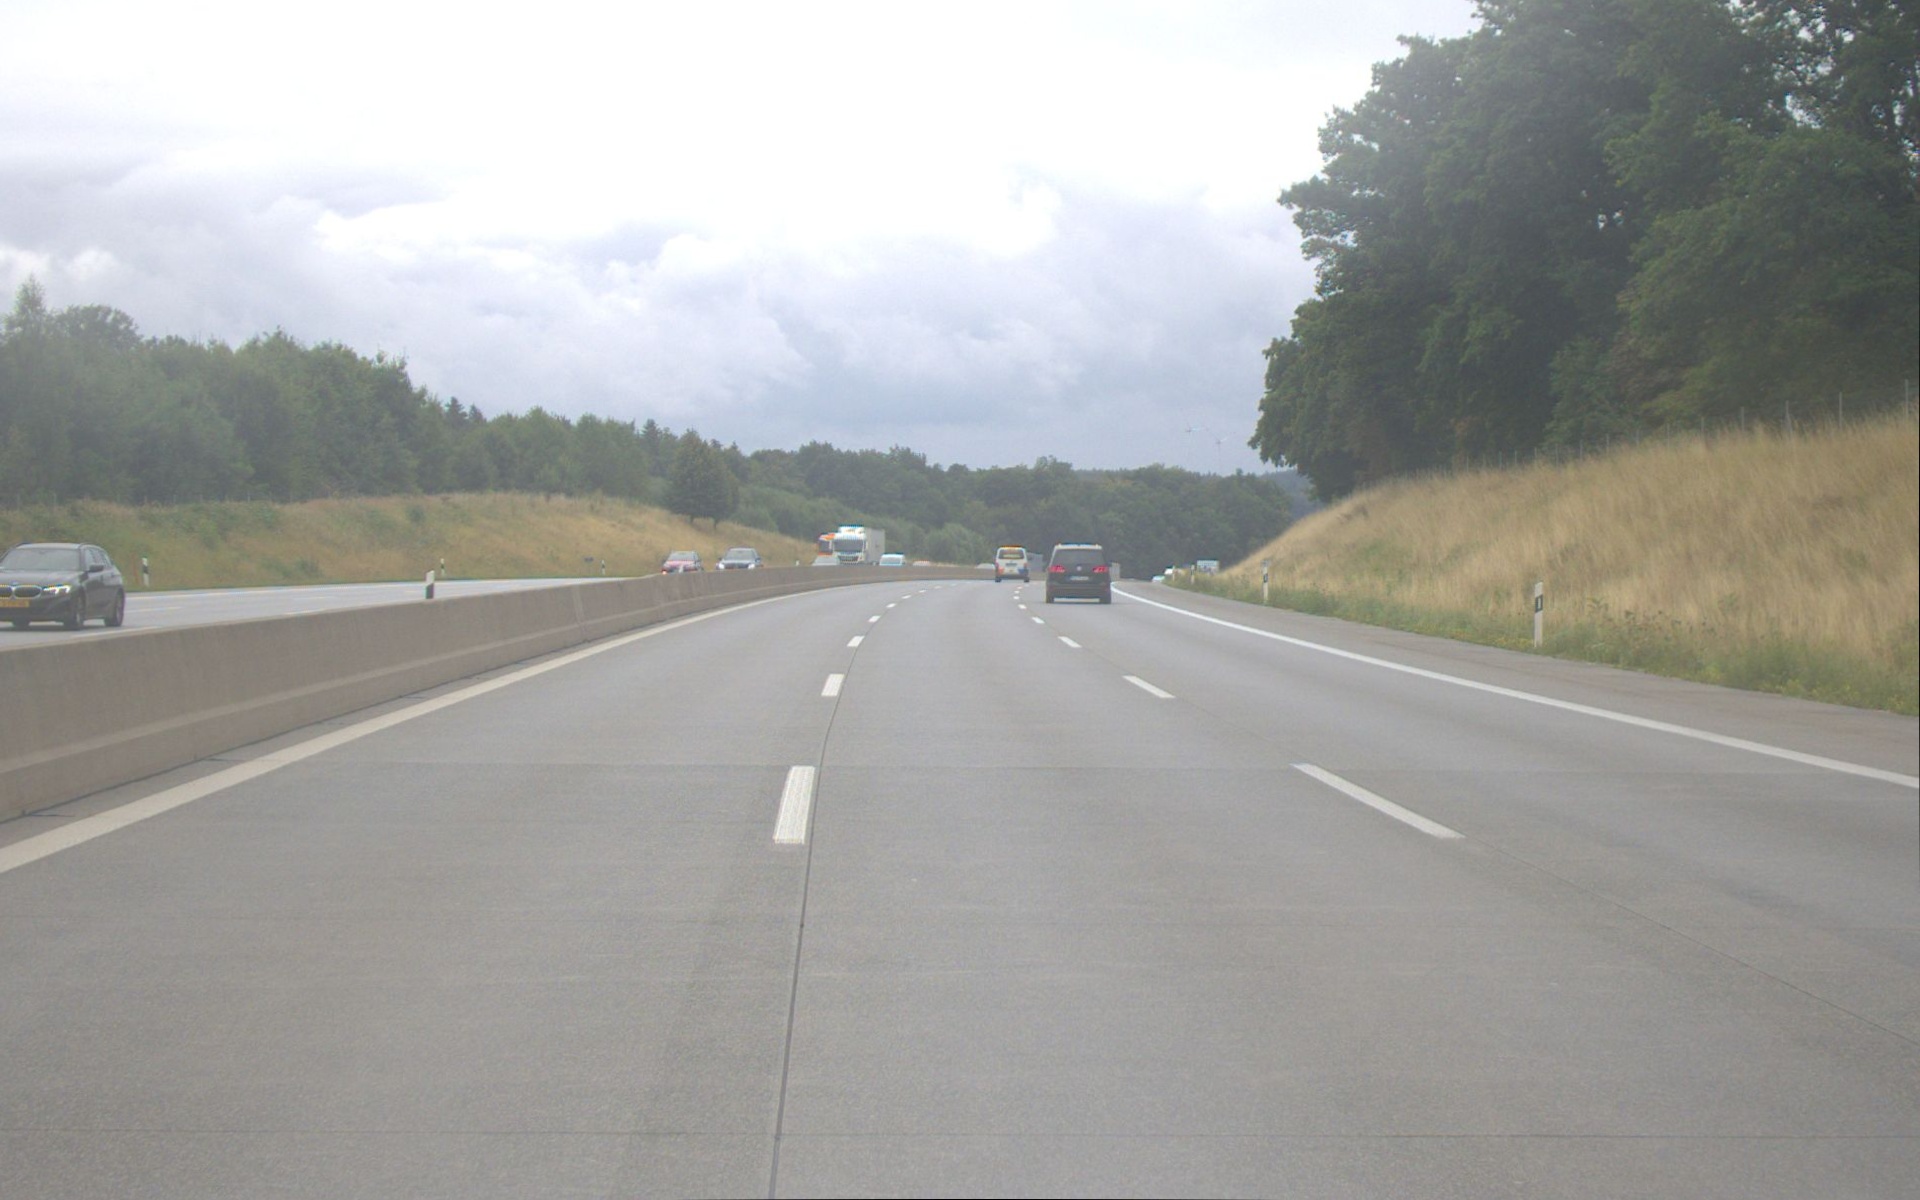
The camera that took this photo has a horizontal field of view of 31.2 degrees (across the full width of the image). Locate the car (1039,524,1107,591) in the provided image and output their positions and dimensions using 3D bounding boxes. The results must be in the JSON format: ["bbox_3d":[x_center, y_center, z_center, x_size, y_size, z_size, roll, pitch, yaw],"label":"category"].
[{"bbox_3d":[3.231,-1.239,98.925,1.785,1.741,3.915,-3,2,1],"label":"car"}]

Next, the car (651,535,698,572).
[{"bbox_3d":[-14.293,-2.341,172.259,1.950,1.612,4.001,-3,2,0],"label":"car"}]

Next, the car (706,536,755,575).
[{"bbox_3d":[-10.696,-2.071,160.209,1.950,1.612,4.001,-3,2,0],"label":"car"}]

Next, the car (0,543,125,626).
[{"bbox_3d":[-15.234,-0.284,57.340,1.767,1.228,3.955,1,2,-2],"label":"car"}]

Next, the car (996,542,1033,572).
[{"bbox_3d":[3.035,-2.444,193.183,1.841,1.495,4.001,-3,2,-2],"label":"car"}]
